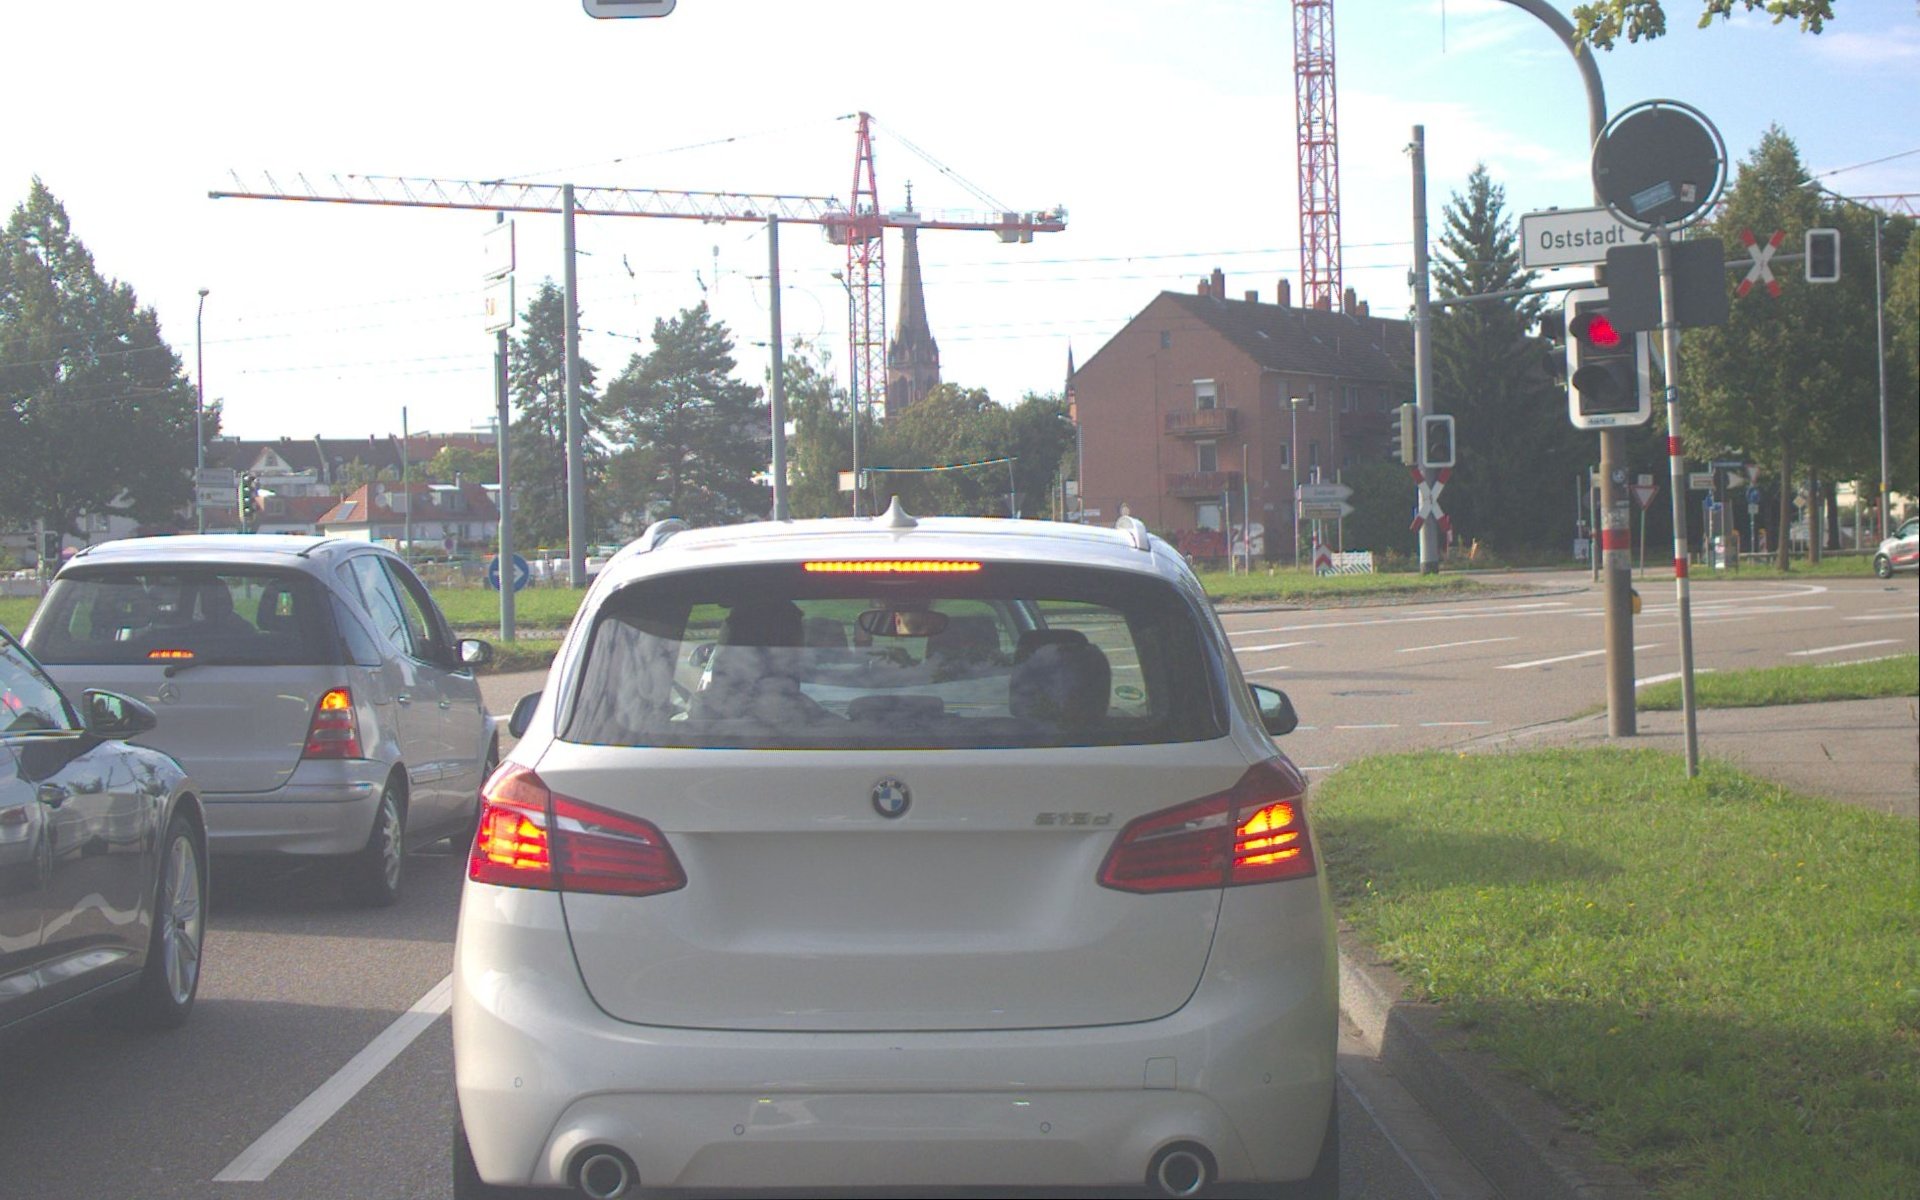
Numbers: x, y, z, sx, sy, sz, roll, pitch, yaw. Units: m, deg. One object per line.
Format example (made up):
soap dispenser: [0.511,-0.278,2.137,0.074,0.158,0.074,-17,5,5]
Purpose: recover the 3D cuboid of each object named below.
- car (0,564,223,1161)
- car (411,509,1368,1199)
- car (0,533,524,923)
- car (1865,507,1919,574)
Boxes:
car: [-3.326,0.646,8.942,1.890,1.478,4.613,0,1,-1]
car: [-0.154,0.577,8.254,1.729,1.553,4.058,0,1,-1]
car: [-3.108,0.477,15.722,1.729,1.553,4.058,0,1,0]
car: [23.582,-1.457,83.081,1.569,1.568,3.199,-4,1,-25]
